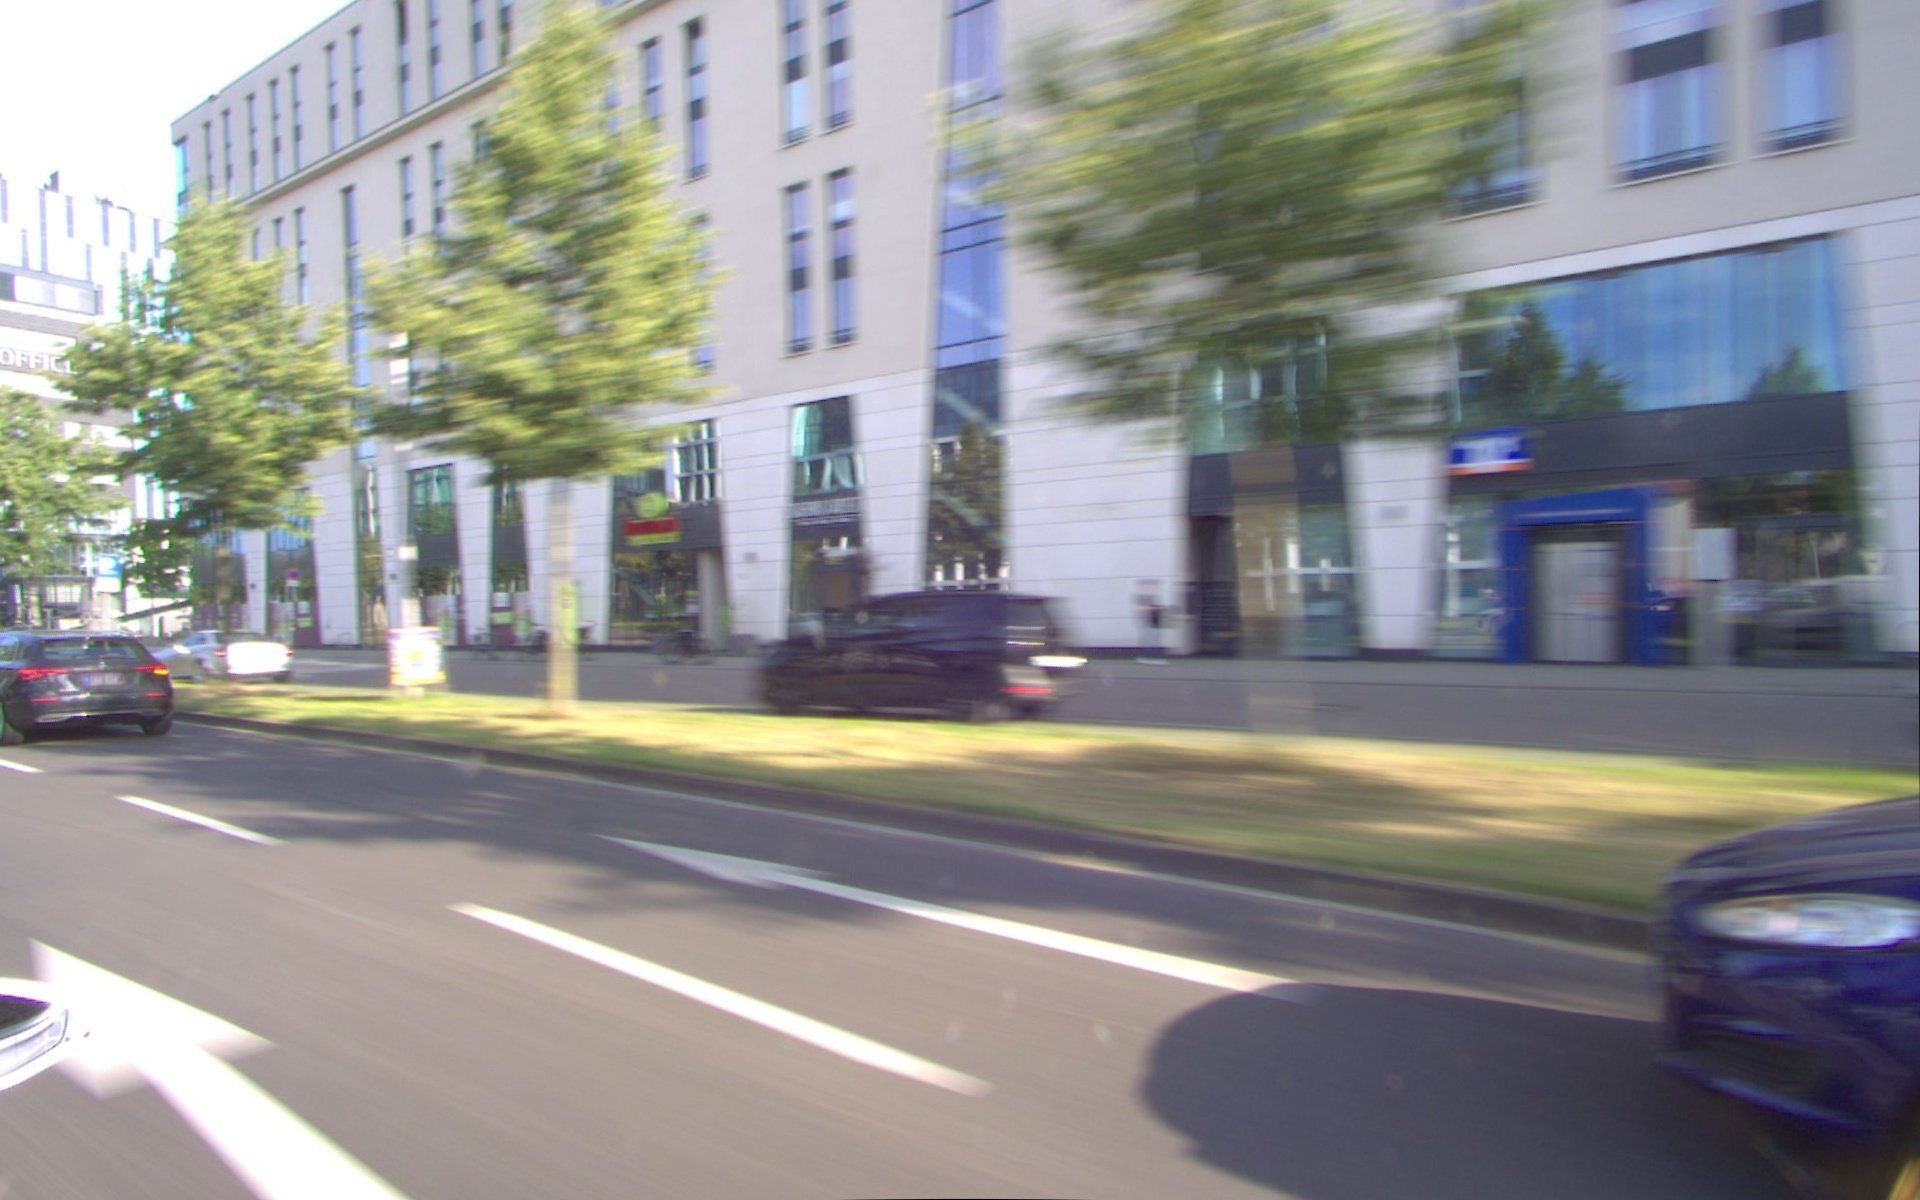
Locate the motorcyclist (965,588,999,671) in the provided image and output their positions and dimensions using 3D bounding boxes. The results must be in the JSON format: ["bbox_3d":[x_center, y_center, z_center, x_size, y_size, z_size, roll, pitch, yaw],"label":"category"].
[{"bbox_3d":[0.449,0.598,20.480,0.411,1.663,0.622,-1,3,29],"label":"motorcyclist"}]

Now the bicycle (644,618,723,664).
[{"bbox_3d":[-7.096,1.050,25.680,1.870,1.098,0.634,-2,0,17],"label":"bicycle"}]

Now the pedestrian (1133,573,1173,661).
[{"bbox_3d":[4.005,0.367,20.768,0.637,1.785,0.536,-1,-1,33],"label":"pedestrian"}]

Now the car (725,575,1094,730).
[{"bbox_3d":[-0.733,0.624,13.189,4.609,1.730,1.894,0,-1,31],"label":"car"}]

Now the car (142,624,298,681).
[{"bbox_3d":[-17.731,1.238,23.965,3.850,1.258,1.705,-2,-2,32],"label":"car"}]

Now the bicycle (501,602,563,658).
[{"bbox_3d":[-12.513,0.882,29.263,2.182,1.587,0.554,-2,-2,33],"label":"bicycle"}]

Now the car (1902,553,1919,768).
[{"bbox_3d":[9.313,0.429,6.561,4.233,1.733,1.825,-2,-2,31],"label":"car"}]

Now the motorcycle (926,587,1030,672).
[{"bbox_3d":[0.358,0.612,20.539,1.982,1.640,0.699,-1,3,31],"label":"motorcycle"}]

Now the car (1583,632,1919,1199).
[{"bbox_3d":[3.591,0.780,2.014,3.857,1.442,1.555,-2,-2,37],"label":"car"}]

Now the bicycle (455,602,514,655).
[{"bbox_3d":[-14.647,0.903,30.818,2.245,1.590,0.554,-2,-2,33],"label":"bicycle"}]

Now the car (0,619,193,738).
[{"bbox_3d":[-12.566,1.030,13.977,3.906,1.442,1.770,-2,-2,33],"label":"car"}]

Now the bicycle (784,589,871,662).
[{"bbox_3d":[-3.098,0.610,23.294,2.182,1.639,0.554,-2,-2,33],"label":"bicycle"}]

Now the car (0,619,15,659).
[{"bbox_3d":[-34.989,1.388,35.466,4.106,1.388,1.601,-2,-2,38],"label":"car"}]
